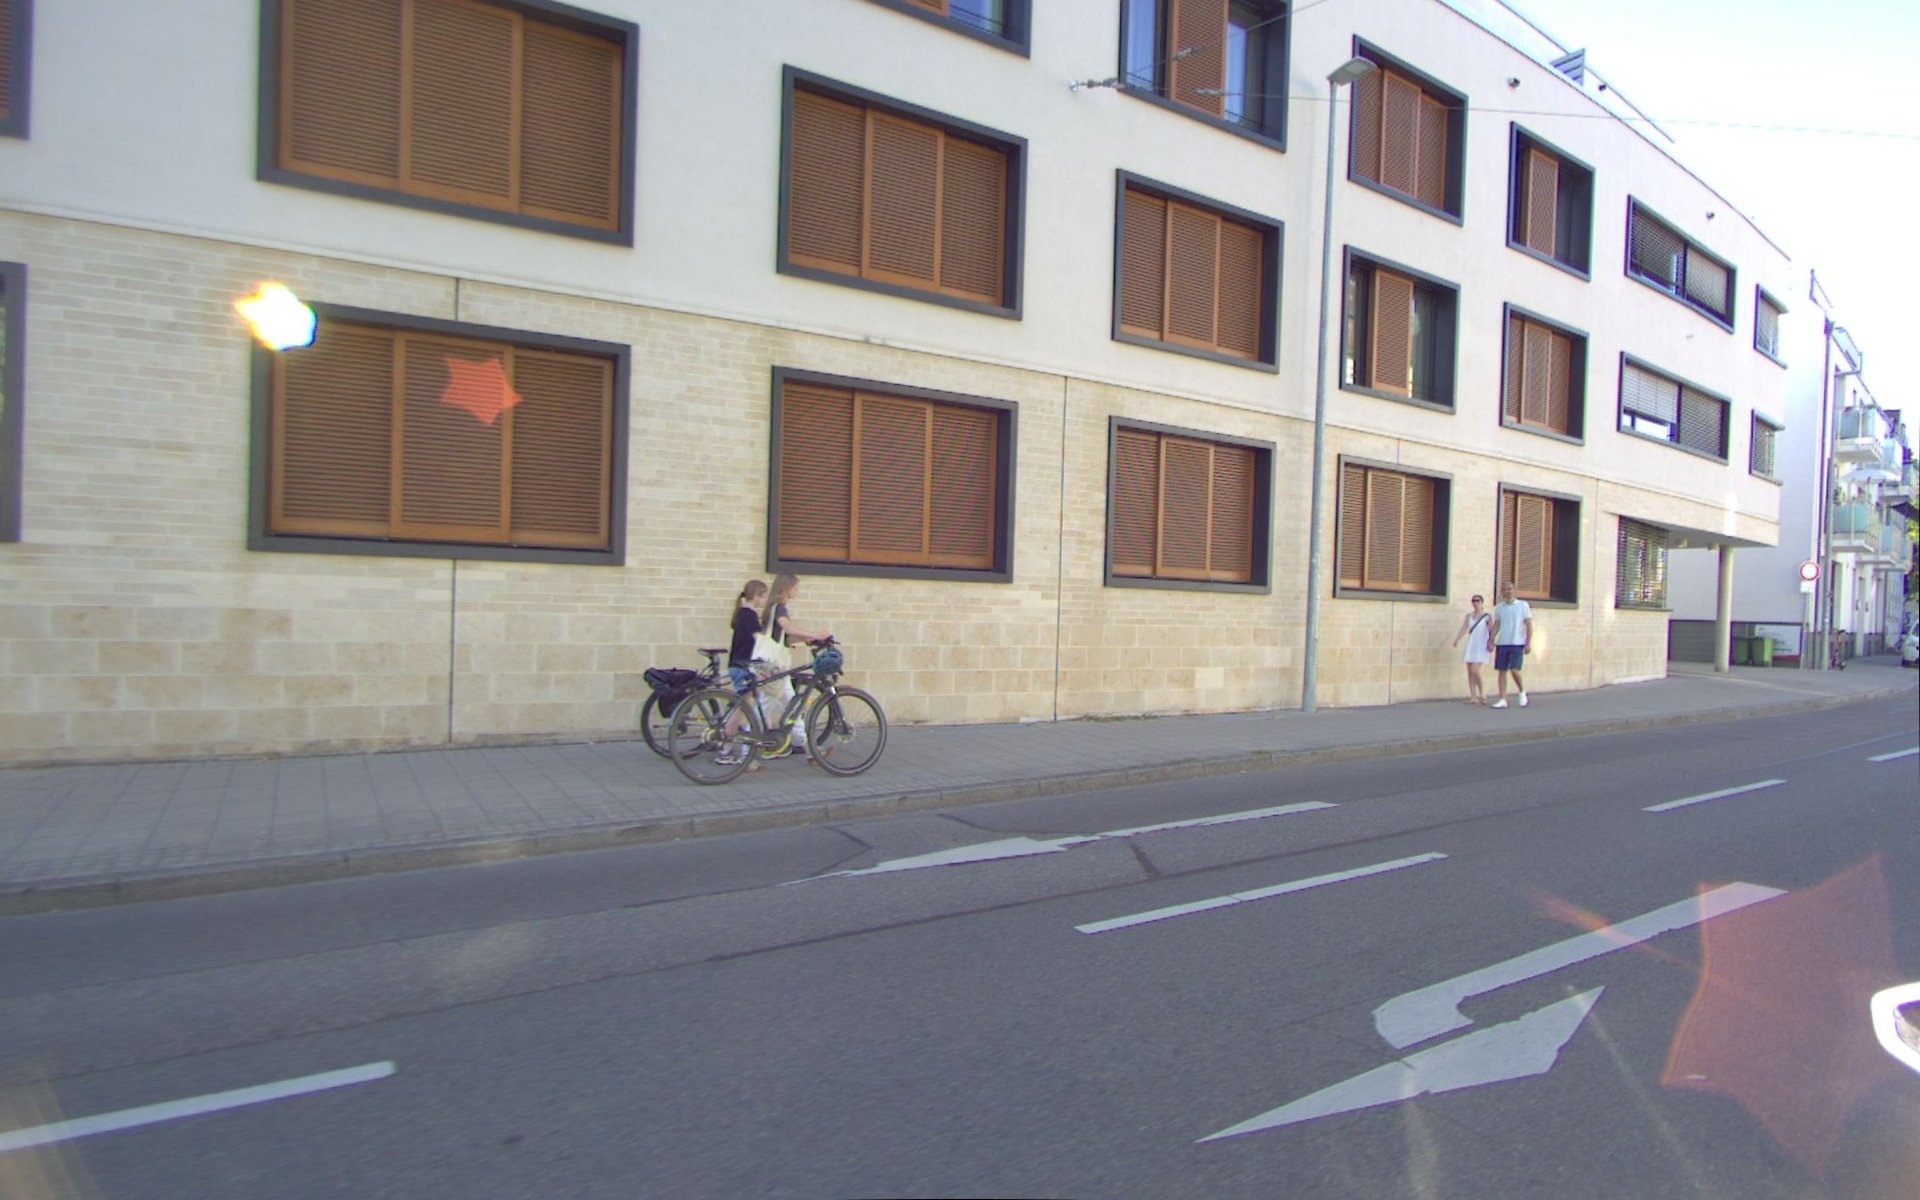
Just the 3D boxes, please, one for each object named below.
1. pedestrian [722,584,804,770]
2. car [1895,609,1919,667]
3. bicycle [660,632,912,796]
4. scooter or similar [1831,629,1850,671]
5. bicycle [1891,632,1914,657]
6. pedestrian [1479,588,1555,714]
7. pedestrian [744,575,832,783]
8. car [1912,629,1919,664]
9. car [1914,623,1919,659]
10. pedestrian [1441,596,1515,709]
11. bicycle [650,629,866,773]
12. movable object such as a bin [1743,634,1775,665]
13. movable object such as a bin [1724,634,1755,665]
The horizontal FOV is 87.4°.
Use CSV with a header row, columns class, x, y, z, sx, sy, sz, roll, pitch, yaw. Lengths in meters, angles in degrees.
class,x,y,z,sx,sy,sz,roll,pitch,yaw
pedestrian,-1.749,0.657,8.883,0.594,1.586,0.472,1,1,-24
car,33.776,1.367,34.806,1.792,1.894,4.306,5,2,44
bicycle,-1.373,0.865,8.051,1.939,1.194,0.439,1,1,-24
scooter or similar,27.182,1.538,31.003,0.221,1.236,1.152,3,2,33
bicycle,44.958,2.114,47.915,0.569,1.124,1.863,3,1,38
pedestrian,8.628,0.775,15.562,0.983,1.873,0.601,2,1,-36
pedestrian,-1.453,0.640,8.441,0.594,1.669,0.472,1,2,-24
car,37.475,1.829,37.980,3.993,1.290,1.650,2,2,-40
car,41.826,1.749,42.160,4.546,1.486,1.697,1,3,-36
pedestrian,8.295,0.829,16.096,0.835,1.737,0.697,2,1,-36
bicycle,-1.768,0.862,8.870,1.811,1.183,0.375,1,2,-23
movable object such as a bin,24.633,1.519,30.962,0.522,0.913,0.547,2,1,-20
movable object such as a bin,24.452,1.545,31.501,0.522,0.913,0.547,2,1,-20
